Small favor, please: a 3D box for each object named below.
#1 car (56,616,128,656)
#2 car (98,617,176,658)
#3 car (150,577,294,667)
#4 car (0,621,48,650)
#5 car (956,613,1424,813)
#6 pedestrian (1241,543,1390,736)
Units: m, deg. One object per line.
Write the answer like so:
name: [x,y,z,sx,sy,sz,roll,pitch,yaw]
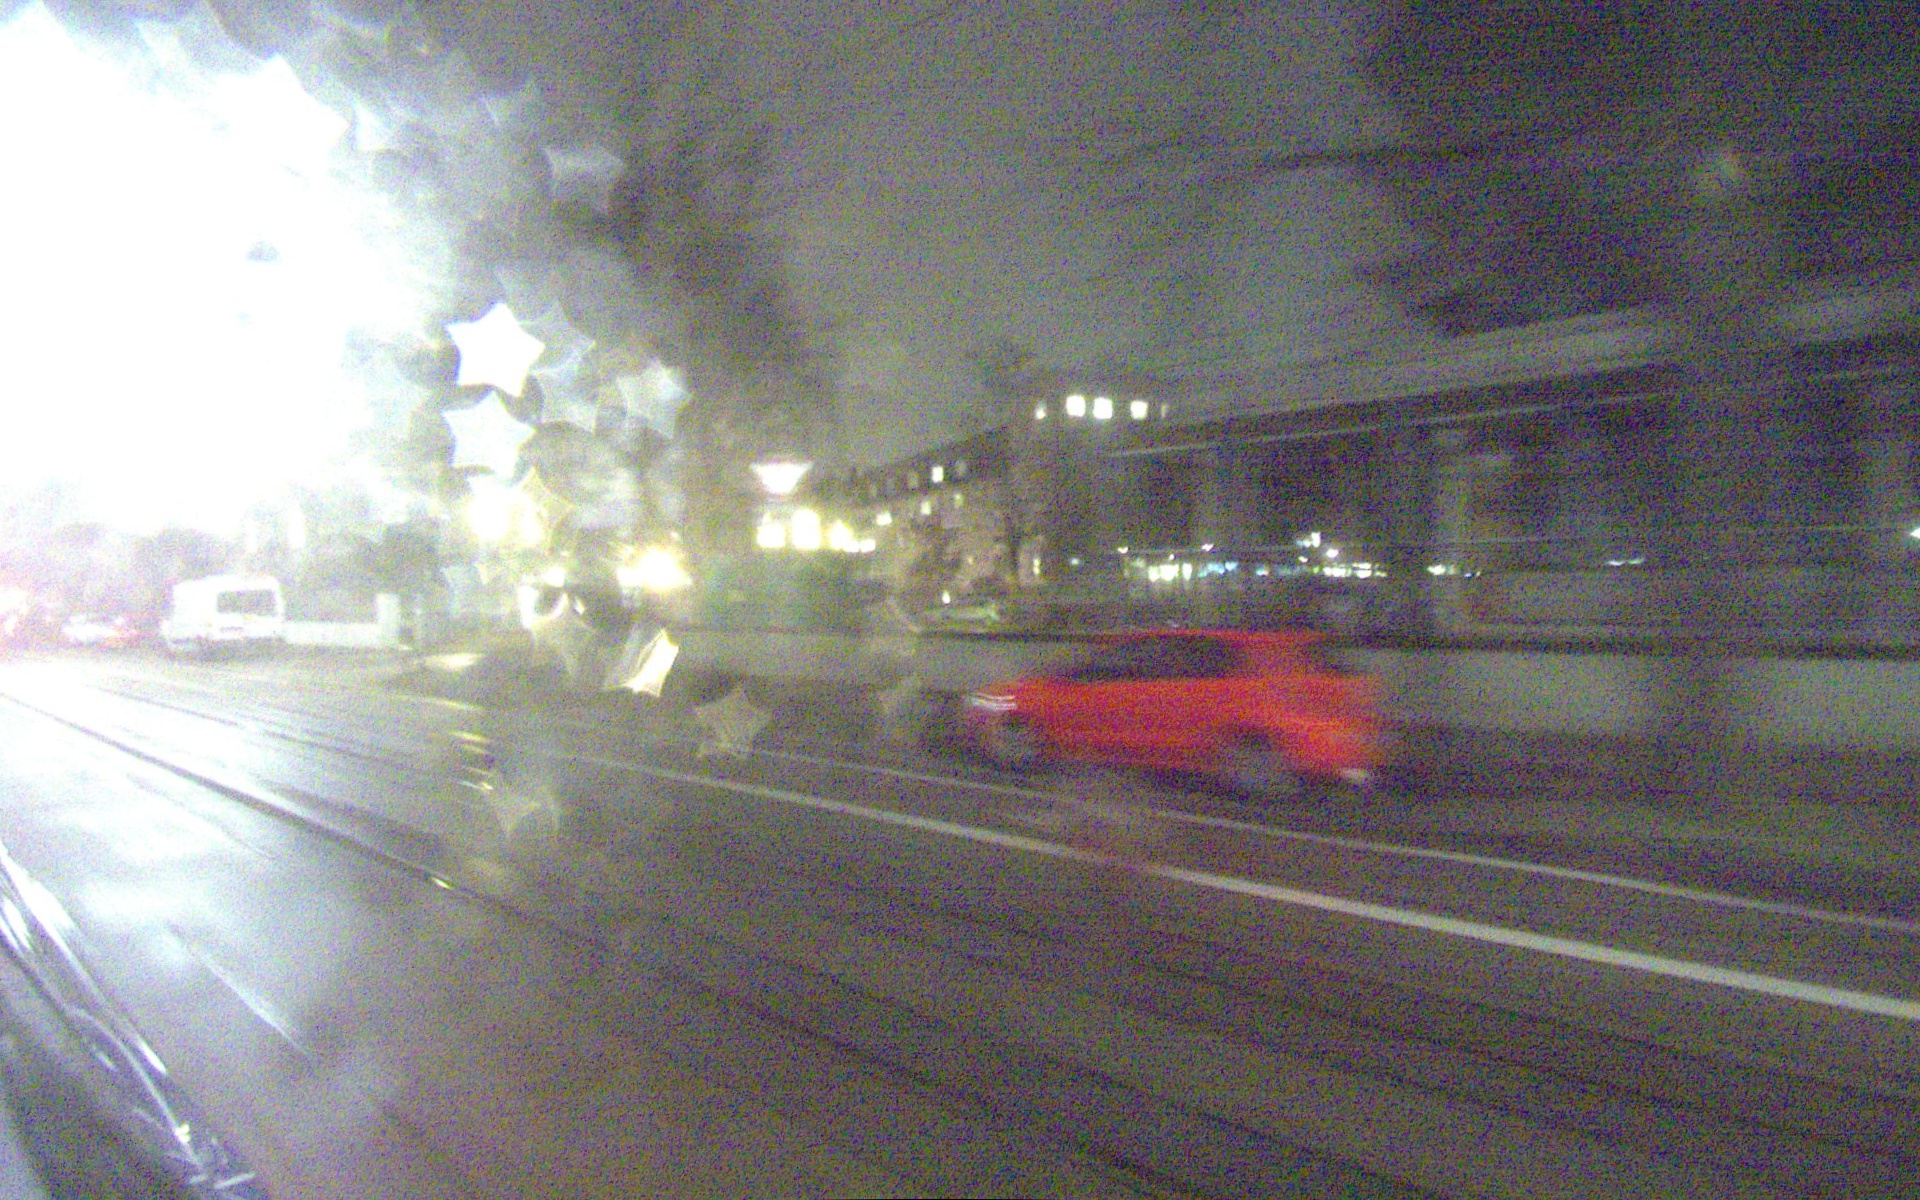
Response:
car: [-38.754,1.556,45.151,3.661,1.593,1.823,0,2,40]
car: [-32.214,1.444,39.585,3.387,1.418,1.699,0,2,40]
car: [-22.996,0.642,31.460,5.253,2.527,2.221,-1,2,38]
car: [-54.598,2.045,58.990,3.916,1.586,1.671,0,0,41]
car: [2.009,0.866,9.488,3.948,1.467,1.701,0,0,40]
pedestrian: [3.777,0.397,10.776,1.290,1.916,0.784,-1,0,41]
